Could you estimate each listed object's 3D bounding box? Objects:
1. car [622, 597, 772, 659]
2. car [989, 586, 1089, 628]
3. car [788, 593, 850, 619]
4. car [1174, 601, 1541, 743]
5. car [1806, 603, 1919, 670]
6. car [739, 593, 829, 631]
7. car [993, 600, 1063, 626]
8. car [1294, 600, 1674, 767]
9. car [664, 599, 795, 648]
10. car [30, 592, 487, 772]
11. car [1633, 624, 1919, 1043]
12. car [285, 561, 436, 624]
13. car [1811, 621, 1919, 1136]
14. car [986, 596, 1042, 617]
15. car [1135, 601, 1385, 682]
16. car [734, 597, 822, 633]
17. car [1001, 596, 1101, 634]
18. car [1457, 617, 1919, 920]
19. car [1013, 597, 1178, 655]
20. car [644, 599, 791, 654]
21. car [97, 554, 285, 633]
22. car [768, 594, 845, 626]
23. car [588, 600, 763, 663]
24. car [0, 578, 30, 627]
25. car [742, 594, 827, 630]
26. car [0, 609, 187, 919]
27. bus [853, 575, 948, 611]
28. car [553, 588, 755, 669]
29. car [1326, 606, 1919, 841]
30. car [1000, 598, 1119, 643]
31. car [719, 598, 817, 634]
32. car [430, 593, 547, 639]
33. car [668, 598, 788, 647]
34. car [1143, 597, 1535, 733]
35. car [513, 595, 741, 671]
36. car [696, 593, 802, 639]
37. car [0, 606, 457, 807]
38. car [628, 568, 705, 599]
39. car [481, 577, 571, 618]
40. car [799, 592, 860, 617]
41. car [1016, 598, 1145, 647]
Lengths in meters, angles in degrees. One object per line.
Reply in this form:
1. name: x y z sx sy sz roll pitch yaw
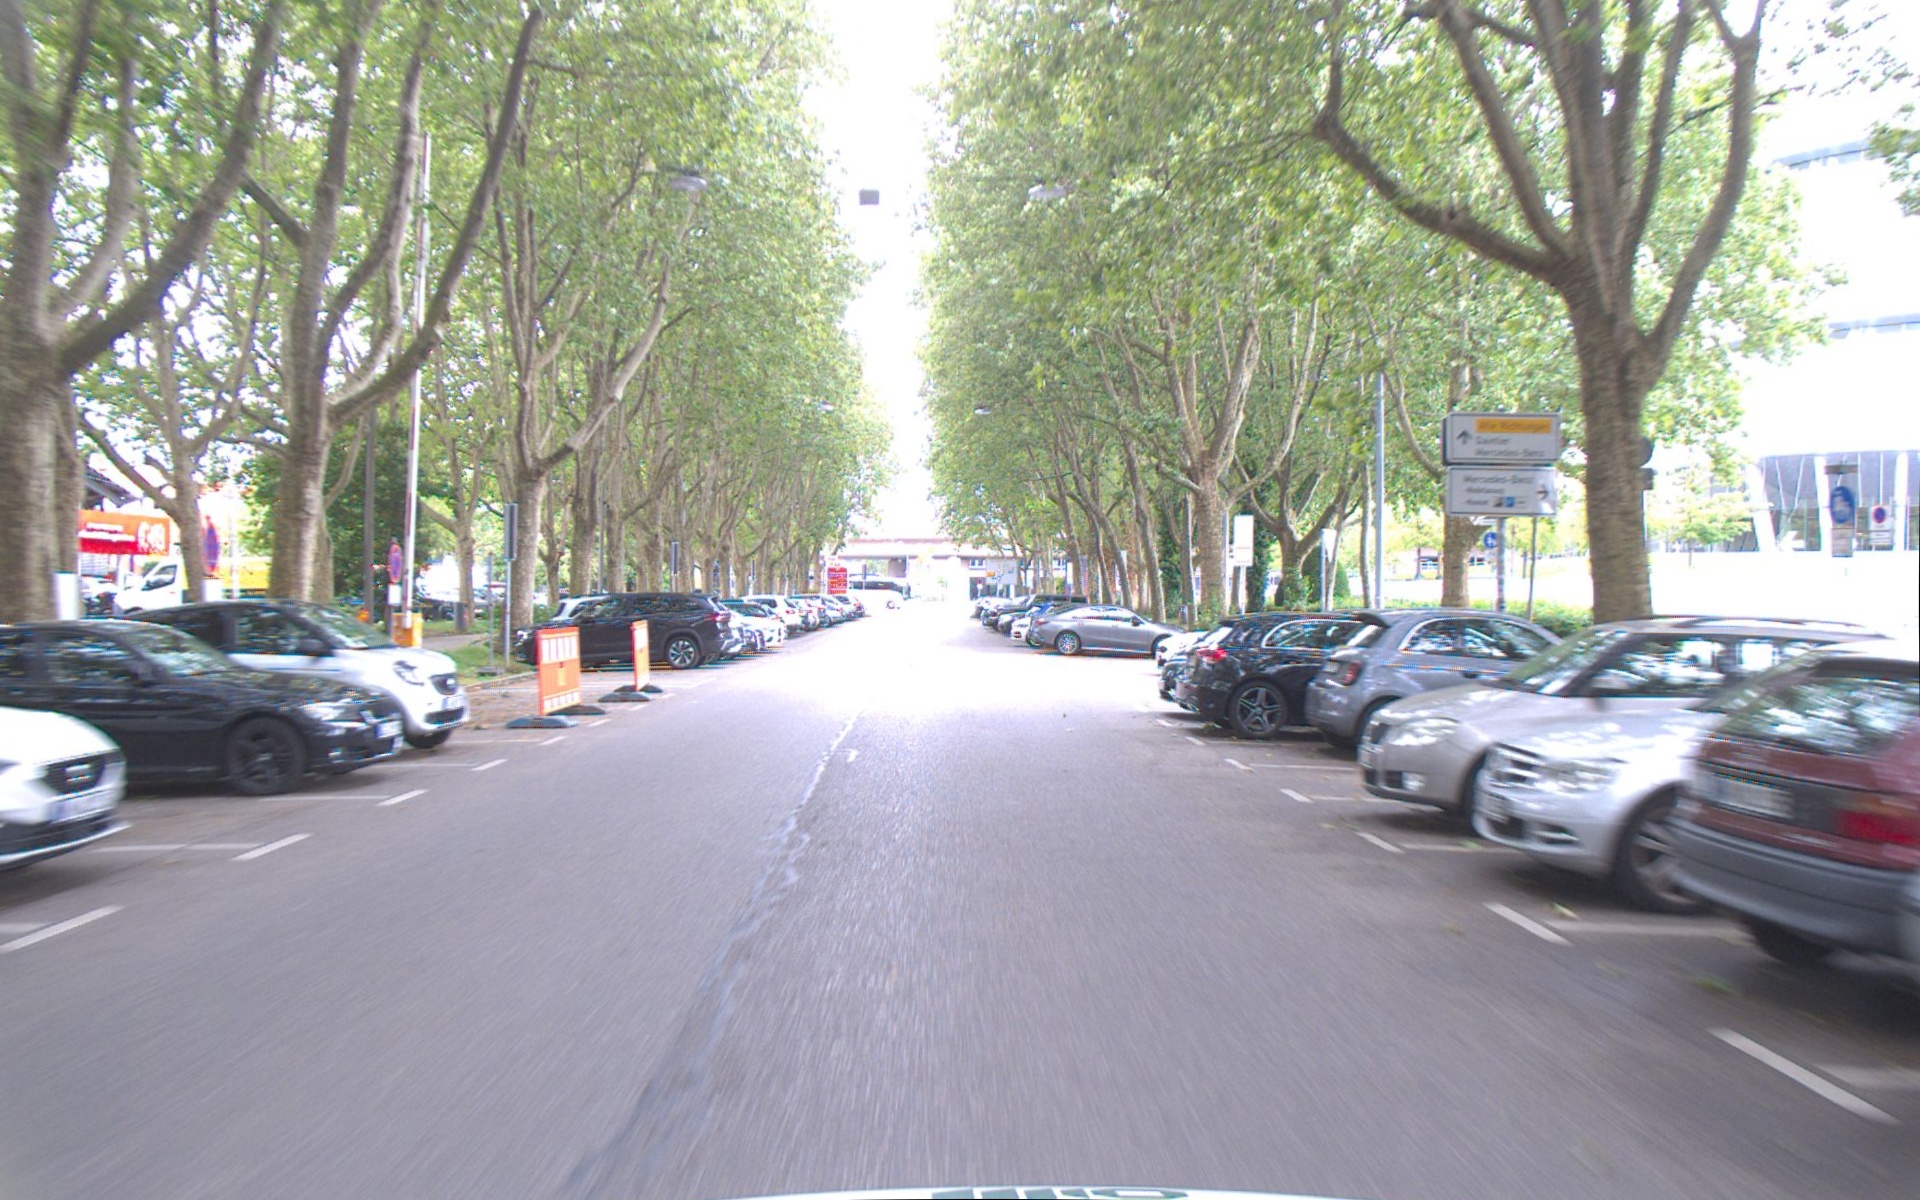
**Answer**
1. car: -6.961 0.730 44.106 3.738 1.510 1.661 -2 0 -3
2. car: 3.512 0.307 73.760 4.290 1.782 1.730 1 0 -4
3. car: -8.892 0.362 104.640 3.734 1.542 1.686 1 0 2
4. car: 4.536 0.810 19.183 3.840 1.477 1.555 1 0 -3
5. car: 21.576 0.776 36.512 4.833 1.427 1.999 0 0 -3
6. car: -7.877 0.525 74.223 3.734 1.542 1.687 -2 0 4
7. car: 4.364 0.827 106.468 4.290 1.549 1.730 1 0 -4
8. car: 5.276 0.817 16.910 3.356 1.534 1.555 1 0 -3
9. car: -7.140 0.716 51.515 3.734 1.354 1.663 -2 0 4
10. car: -6.767 0.754 16.276 3.751 1.582 1.693 -1 0 -4
11. car: 4.745 0.881 6.760 3.358 1.448 1.518 1 0 -5
12. car: -23.156 -0.311 64.027 4.972 2.271 2.176 1 0 2
13. car: 4.547 0.843 4.369 3.574 1.448 1.983 1 0 -5
14. car: 4.145 0.497 127.890 4.287 1.549 1.731 1 0 0
15. car: 6.404 0.879 35.495 4.845 1.427 1.994 3 0 -12
16. car: -8.370 0.680 76.324 3.734 1.542 1.687 -2 0 4
17. car: 3.751 0.613 68.650 3.968 1.494 1.730 1 0 -4
18. car: 4.636 0.874 9.070 3.354 1.448 1.519 1 0 1
19. car: 3.768 0.711 46.312 4.478 1.512 2.001 1 0 3
20. car: -6.727 0.719 46.112 3.734 1.377 1.663 -2 0 4
21. car: -23.690 -0.194 51.073 4.976 2.271 1.535 1 0 -3
22. car: -8.023 0.511 86.542 3.734 1.542 1.687 -2 0 4
23. car: -7.076 0.777 41.472 4.084 1.405 1.870 -2 0 -3
24. car: -33.454 0.035 55.205 3.902 1.617 1.695 2 0 7
25. car: -8.294 0.570 78.500 3.734 1.542 1.687 -2 0 4
26. car: -6.690 0.833 8.829 4.309 1.455 1.695 -1 0 2
27. bus: -7.047 -0.829 195.075 11.346 4.040 2.452 -1 -1 26
28. car: -7.107 0.641 38.702 4.383 1.706 1.761 -2 0 -3
29. car: 4.558 0.819 11.580 3.605 1.448 1.518 1 0 -3
30. car: 3.519 0.716 58.441 4.088 1.467 1.732 1 0 3
31. car: -7.973 0.652 68.826 3.734 1.319 1.787 -2 0 4
32. car: -22.712 0.762 79.785 4.972 2.050 2.176 1 0 2
33. car: -7.879 0.755 56.256 3.734 1.510 1.663 -2 0 4
34. car: 4.806 0.804 21.434 4.566 1.477 1.925 2 0 -3
35. car: -7.181 0.683 36.030 4.571 1.452 1.999 -2 0 -3
36. car: -8.104 0.613 63.683 3.734 1.630 1.787 -2 0 4
37. car: -6.508 0.832 13.550 4.247 1.455 1.693 -1 0 -4
38. car: -20.586 -1.179 116.138 4.972 2.050 2.176 1 0 2
39. car: -23.575 -0.138 89.949 4.261 2.050 2.176 1 0 2
40. car: -8.451 0.301 107.391 3.734 1.542 1.686 1 0 2
41. car: 3.885 0.704 53.452 4.088 1.467 1.732 1 0 3
